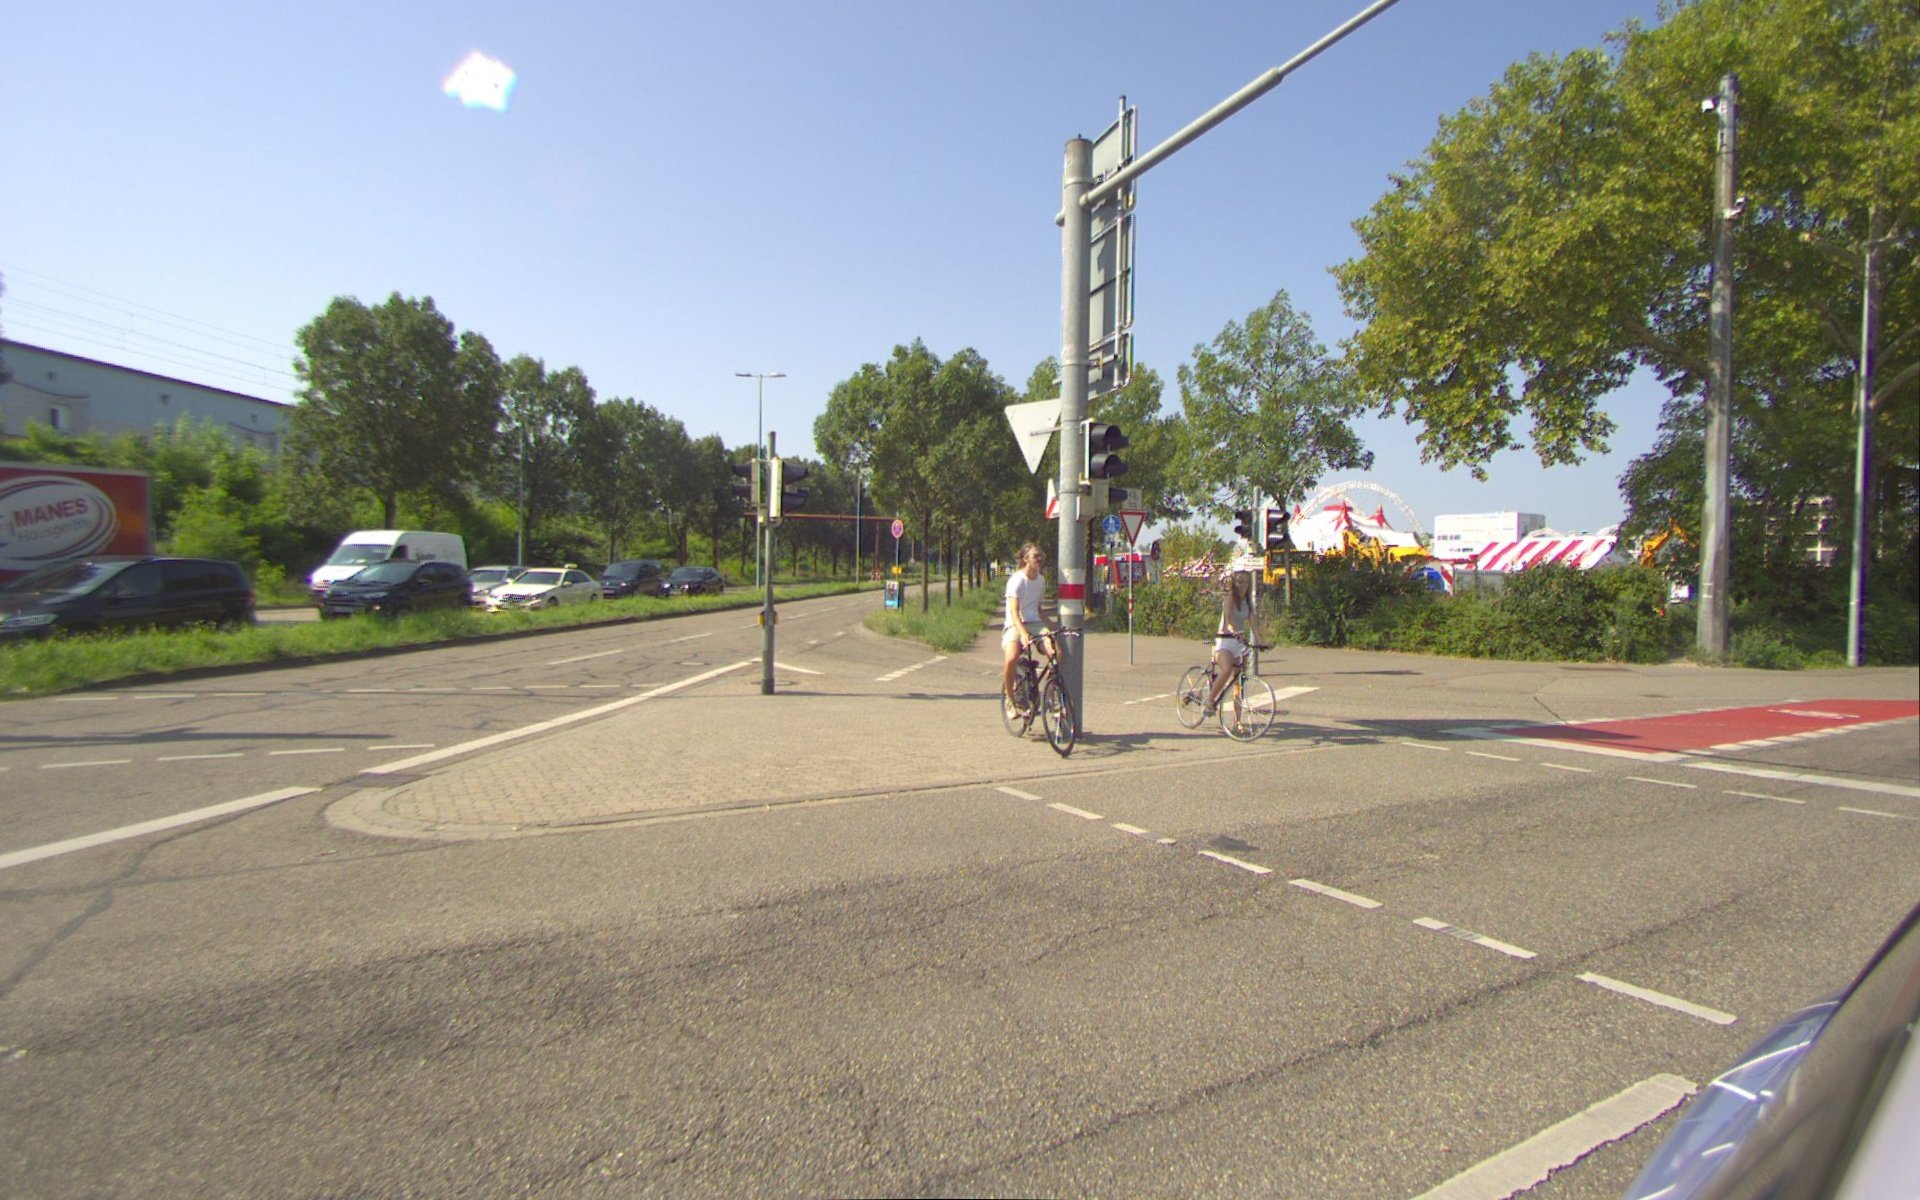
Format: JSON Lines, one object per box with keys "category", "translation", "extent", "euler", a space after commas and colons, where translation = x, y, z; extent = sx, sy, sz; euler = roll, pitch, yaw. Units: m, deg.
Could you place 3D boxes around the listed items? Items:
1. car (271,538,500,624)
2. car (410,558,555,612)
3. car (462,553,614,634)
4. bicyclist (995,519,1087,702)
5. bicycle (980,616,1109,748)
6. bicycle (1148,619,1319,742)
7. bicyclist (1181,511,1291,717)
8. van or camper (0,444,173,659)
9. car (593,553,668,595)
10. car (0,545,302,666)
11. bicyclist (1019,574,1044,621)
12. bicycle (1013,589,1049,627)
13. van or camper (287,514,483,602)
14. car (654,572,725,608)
{"category": "car", "translation": [-13.261, -0.376, 23.846], "extent": [2.108, 1.762, 5.215], "euler": [-1, 0, 5]}
{"category": "car", "translation": [-15.654, -0.442, 33.544], "extent": [2.128, 1.630, 4.967], "euler": [-1, 0, 5]}
{"category": "car", "translation": [-13.008, -0.167, 31.620], "extent": [2.210, 2.290, 5.215], "euler": [-1, -1, 5]}
{"category": "bicyclist", "translation": [0.741, 0.093, 9.568], "extent": [0.586, 1.614, 1.206], "euler": [-1, -1, -8]}
{"category": "bicycle", "translation": [0.757, 0.732, 9.899], "extent": [0.757, 1.101, 2.223], "euler": [1, 0, -8]}
{"category": "bicycle", "translation": [2.817, 0.782, 10.741], "extent": [0.756, 1.101, 2.267], "euler": [0, 0, -13]}
{"category": "bicyclist", "translation": [2.875, 0.134, 10.651], "extent": [0.585, 2.039, 1.207], "euler": [-1, -1, -13]}
{"category": "van or camper", "translation": [-16.294, -0.750, 15.843], "extent": [2.210, 3.405, 6.840], "euler": [-1, -1, 5]}
{"category": "car", "translation": [-14.165, -1.085, 43.709], "extent": [1.629, 1.685, 3.746], "euler": [-1, -1, 8]}
{"category": "car", "translation": [-13.424, 0.097, 16.367], "extent": [1.873, 1.634, 5.187], "euler": [-1, 0, 5]}
{"category": "bicyclist", "translation": [2.144, -0.061, 30.265], "extent": [0.498, 1.382, 0.690], "euler": [-1, -1, 26]}
{"category": "bicycle", "translation": [2.142, 0.232, 30.281], "extent": [0.567, 1.069, 1.481], "euler": [-1, 1, 25]}
{"category": "van or camper", "translation": [-18.443, -1.225, 33.015], "extent": [2.209, 2.514, 6.858], "euler": [-1, 0, 3]}
{"category": "car", "translation": [-11.434, -0.412, 43.011], "extent": [1.628, 1.415, 3.748], "euler": [-1, 0, 7]}
